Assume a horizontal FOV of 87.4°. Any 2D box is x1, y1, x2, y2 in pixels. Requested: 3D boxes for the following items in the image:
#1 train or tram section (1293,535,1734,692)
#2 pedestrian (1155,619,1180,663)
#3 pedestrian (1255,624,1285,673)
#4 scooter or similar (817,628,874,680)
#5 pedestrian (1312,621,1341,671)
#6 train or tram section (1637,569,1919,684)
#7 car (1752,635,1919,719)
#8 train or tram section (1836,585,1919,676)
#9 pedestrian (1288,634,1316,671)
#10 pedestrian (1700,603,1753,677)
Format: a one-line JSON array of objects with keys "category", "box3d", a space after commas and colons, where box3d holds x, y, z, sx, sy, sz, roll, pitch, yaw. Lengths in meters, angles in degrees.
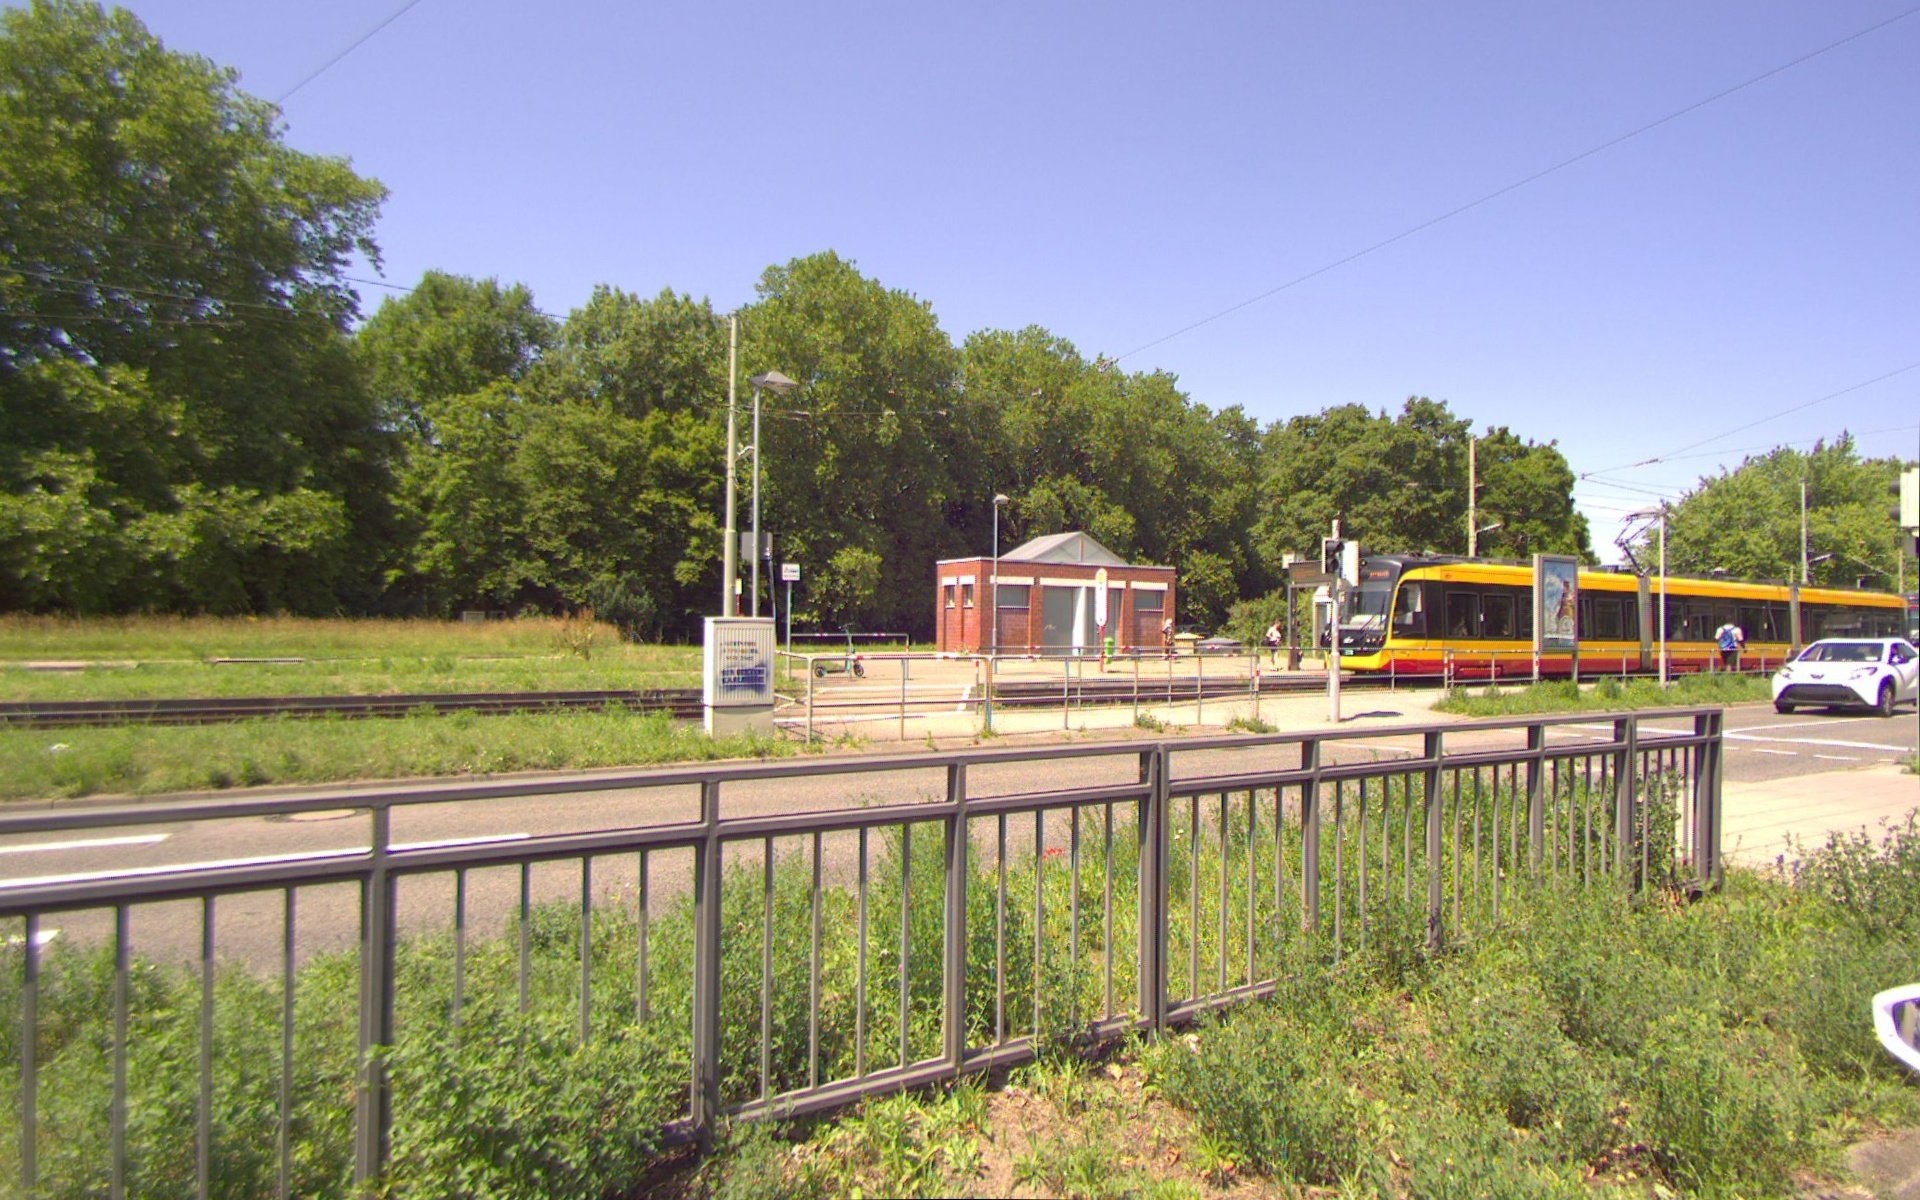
[{"category": "train or tram section", "box3d": [18.090, 0.569, 31.549, 18.281, 3.984, 3.200, 1, -1, -30]}, {"category": "pedestrian", "box3d": [7.102, 1.401, 34.426, 0.563, 1.499, 0.636, 1, -1, -30]}, {"category": "pedestrian", "box3d": [9.566, 1.491, 31.003, 0.576, 1.476, 0.636, 1, -1, -30]}, {"category": "scooter or similar", "box3d": [-2.674, 1.245, 23.422, 1.217, 1.183, 0.508, 1, -1, -30]}, {"category": "pedestrian", "box3d": [11.806, 1.464, 32.388, 0.688, 1.575, 0.629, 2, -1, -42]}, {"category": "train or tram section", "box3d": [33.893, 1.132, 40.632, 18.281, 3.984, 3.200, 1, -1, -30]}, {"category": "car", "box3d": [17.981, 1.497, 20.336, 3.747, 1.514, 1.836, 1, -1, -30]}, {"category": "train or tram section", "box3d": [48.022, 1.554, 51.174, 18.366, 3.983, 3.186, 2, -1, -43]}, {"category": "pedestrian", "box3d": [10.903, 1.675, 31.999, 0.563, 1.139, 0.636, 1, -1, -30]}, {"category": "pedestrian", "box3d": [19.382, 0.994, 25.402, 0.832, 1.802, 0.714, -1, 5, -30]}]
